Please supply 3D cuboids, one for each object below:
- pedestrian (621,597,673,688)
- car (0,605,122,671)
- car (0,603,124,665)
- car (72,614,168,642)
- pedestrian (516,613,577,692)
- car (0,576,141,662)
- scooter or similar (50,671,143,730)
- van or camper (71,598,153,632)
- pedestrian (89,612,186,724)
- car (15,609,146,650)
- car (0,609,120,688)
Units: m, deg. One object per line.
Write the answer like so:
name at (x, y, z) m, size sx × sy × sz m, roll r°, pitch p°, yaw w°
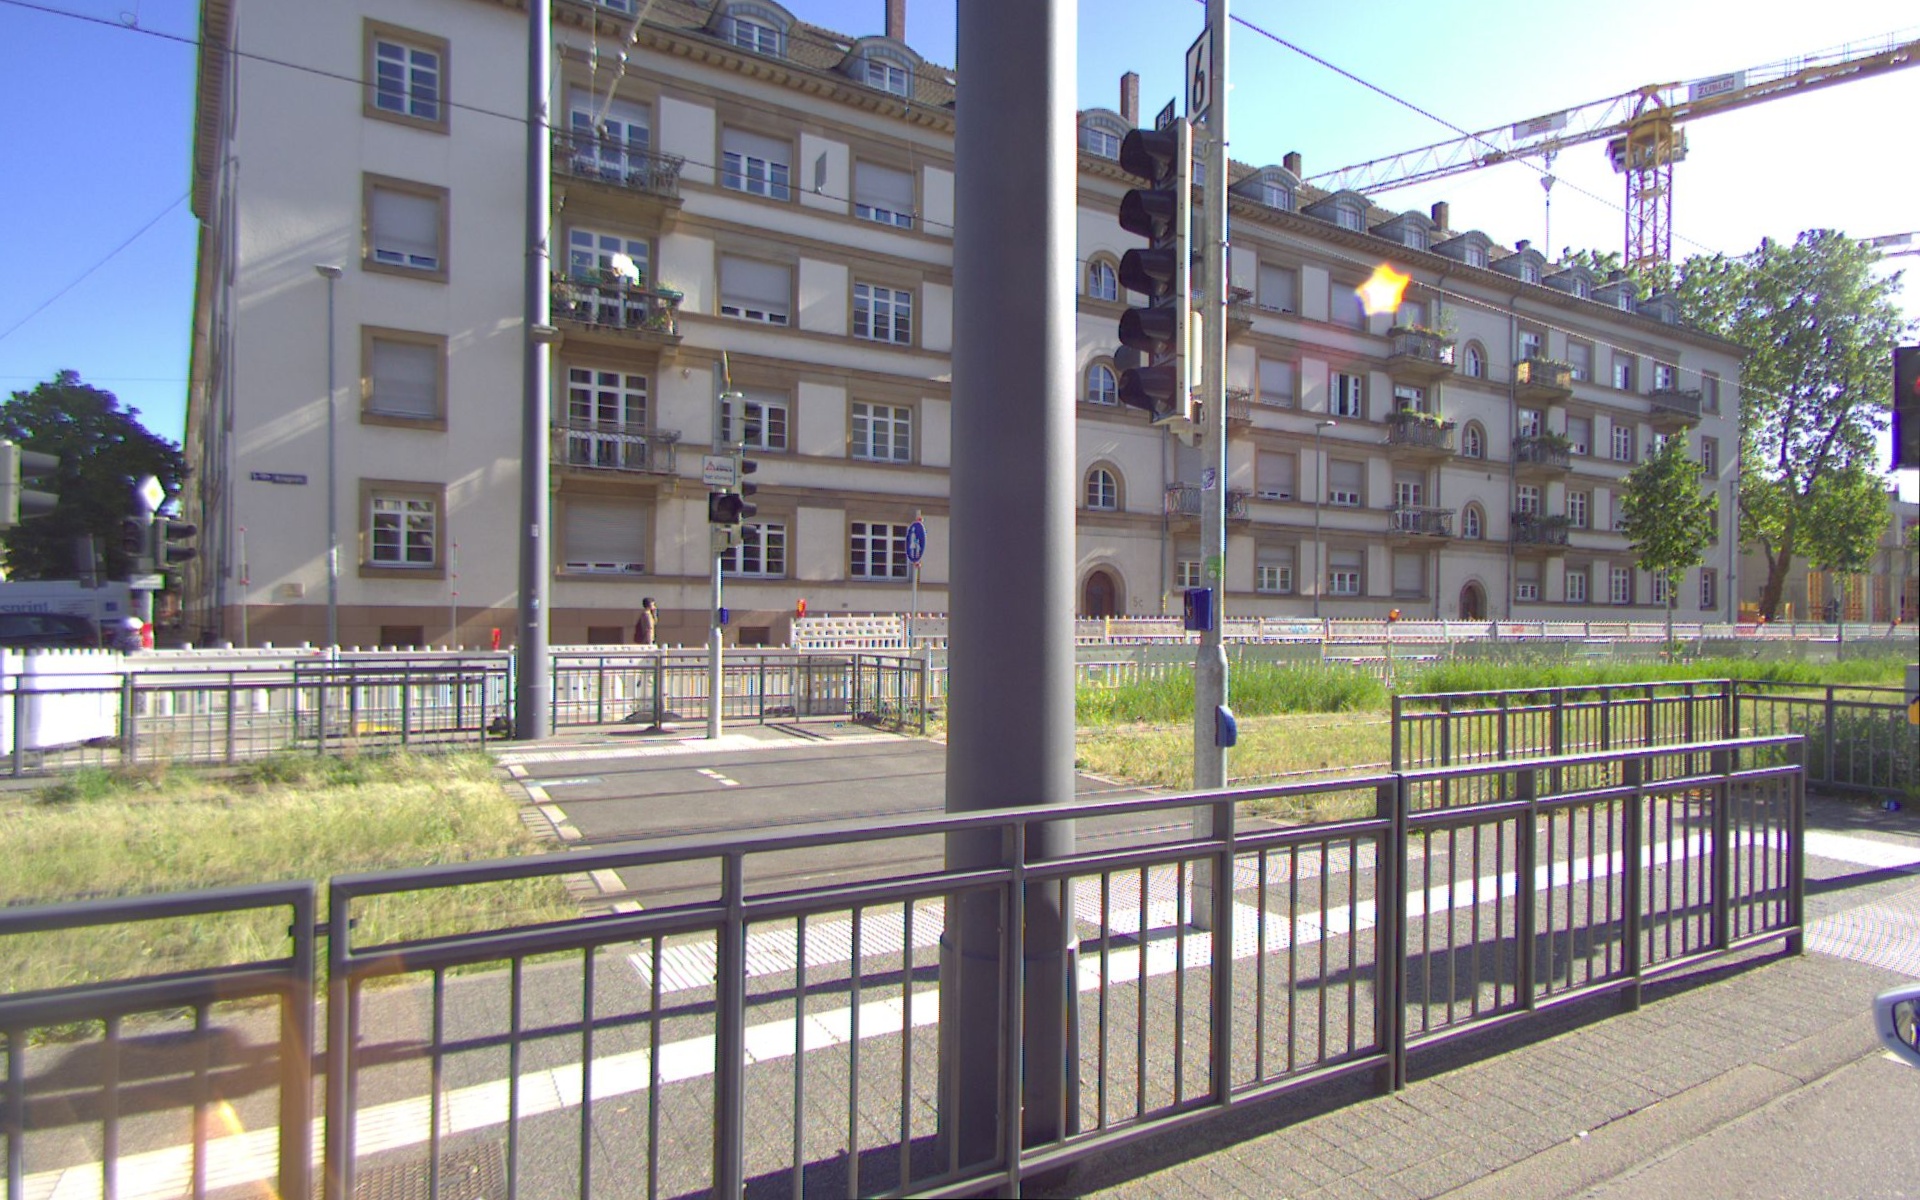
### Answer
pedestrian at (-6.659, 0.899, 21.363) m, size 0.861 × 1.888 × 0.763 m, roll 2°, pitch 0°, yaw -30°
car at (-24.928, 0.983, 26.700) m, size 3.965 × 1.662 × 1.849 m, roll 2°, pitch 0°, yaw -38°
car at (-26.308, 0.949, 28.408) m, size 3.965 × 1.662 × 1.849 m, roll 2°, pitch 0°, yaw -38°
car at (-46.060, 1.564, 55.154) m, size 3.967 × 1.449 × 1.758 m, roll 2°, pitch 0°, yaw -40°
pedestrian at (-8.365, 1.052, 20.315) m, size 1.009 × 1.538 × 0.783 m, roll 2°, pitch 0°, yaw -30°
car at (-28.163, 0.539, 29.967) m, size 5.710 × 2.487 × 1.977 m, roll 2°, pitch 0°, yaw -40°
scooter or similar at (-11.465, 1.324, 13.354) m, size 0.697 × 0.729 × 0.607 m, roll 0°, pitch -1°, yaw -1°
van or camper at (-59.348, 1.088, 70.401) m, size 4.311 × 2.244 × 1.930 m, roll 2°, pitch 0°, yaw -40°
pedestrian at (-11.521, 0.938, 14.099) m, size 0.698 × 1.524 × 0.805 m, roll 0°, pitch -1°, yaw -5°
car at (-36.296, 1.212, 41.602) m, size 3.965 × 1.576 × 1.848 m, roll 2°, pitch 0°, yaw -39°
car at (-21.595, 1.065, 22.563) m, size 3.959 × 1.662 × 1.851 m, roll 2°, pitch 0°, yaw -34°
